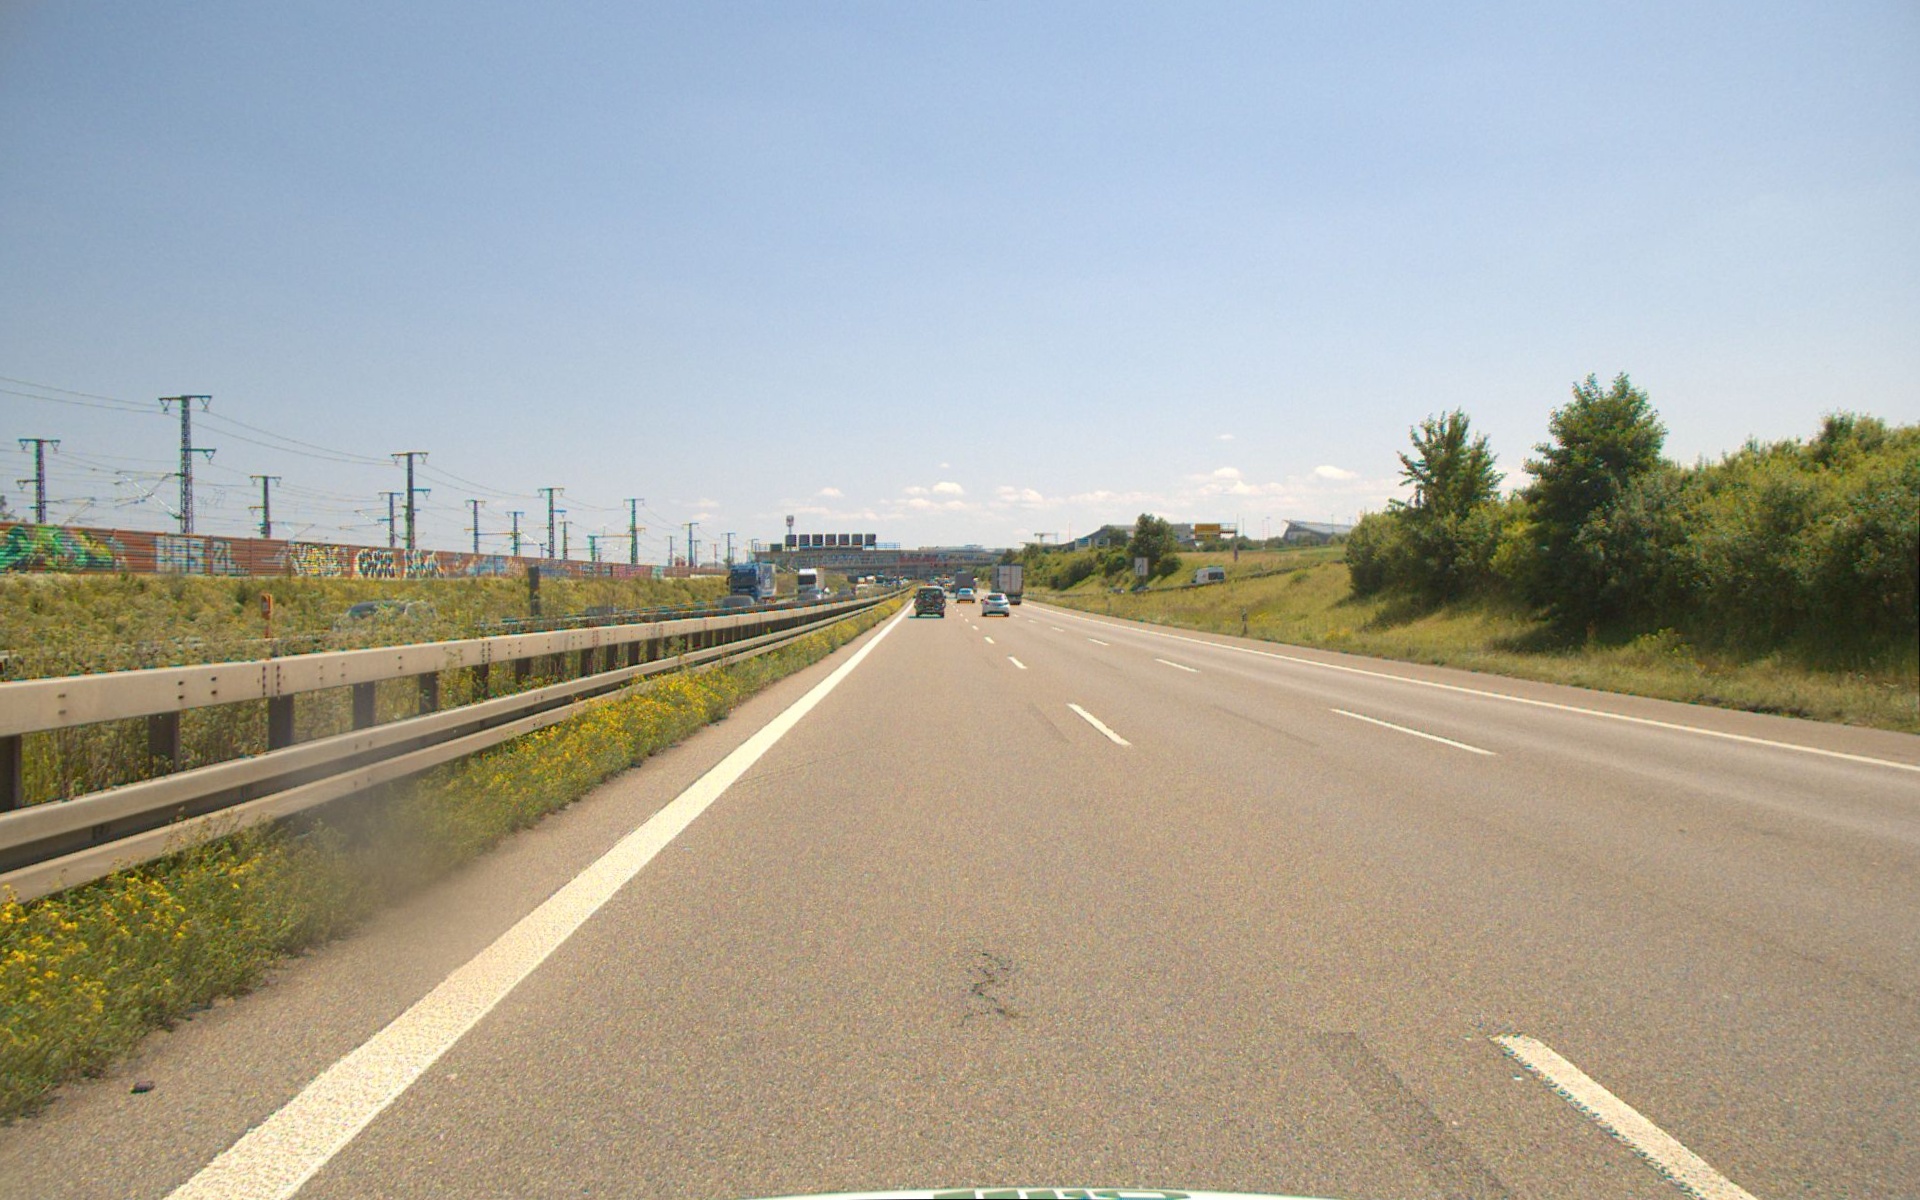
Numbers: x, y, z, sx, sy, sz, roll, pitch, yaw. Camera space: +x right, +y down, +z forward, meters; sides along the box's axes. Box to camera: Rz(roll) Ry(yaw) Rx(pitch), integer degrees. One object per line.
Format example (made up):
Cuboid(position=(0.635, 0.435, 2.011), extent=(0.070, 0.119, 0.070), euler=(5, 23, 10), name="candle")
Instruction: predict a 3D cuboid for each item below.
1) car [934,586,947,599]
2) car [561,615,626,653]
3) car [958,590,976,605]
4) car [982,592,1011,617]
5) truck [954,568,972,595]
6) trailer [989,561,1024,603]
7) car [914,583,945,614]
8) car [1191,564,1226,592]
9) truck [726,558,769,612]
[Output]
Cuboid(position=(-2.966, -1.118, 254.101), extent=(1.953, 2.049, 3.999), euler=(0, 0, -2), name="car")
Cuboid(position=(-15.819, 1.443, 71.545), extent=(1.953, 1.513, 3.930), euler=(-2, 0, -1), name="car")
Cuboid(position=(0.752, -0.253, 172.964), extent=(1.842, 1.553, 4.000), euler=(1, 0, 0), name="car")
Cuboid(position=(2.353, 0.261, 106.410), extent=(1.842, 1.553, 4.001), euler=(1, 0, 2), name="car")
Cuboid(position=(0.355, -2.421, 216.068), extent=(2.307, 3.476, 6.056), euler=(0, 1, -1), name="truck")
Cuboid(position=(4.703, -1.848, 167.686), extent=(3.113, 4.130, 9.438), euler=(-1, 1, -1), name="trailer")
Cuboid(position=(-1.835, -0.077, 99.306), extent=(1.842, 1.806, 3.999), euler=(-1, 0, -1), name="car")
Cuboid(position=(23.230, -2.030, 154.801), extent=(2.229, 2.572, 5.397), euler=(0, 1, -2), name="car")
Cuboid(position=(-18.268, -1.260, 142.546), extent=(2.829, 4.484, 7.502), euler=(-1, 1, -1), name="truck")
